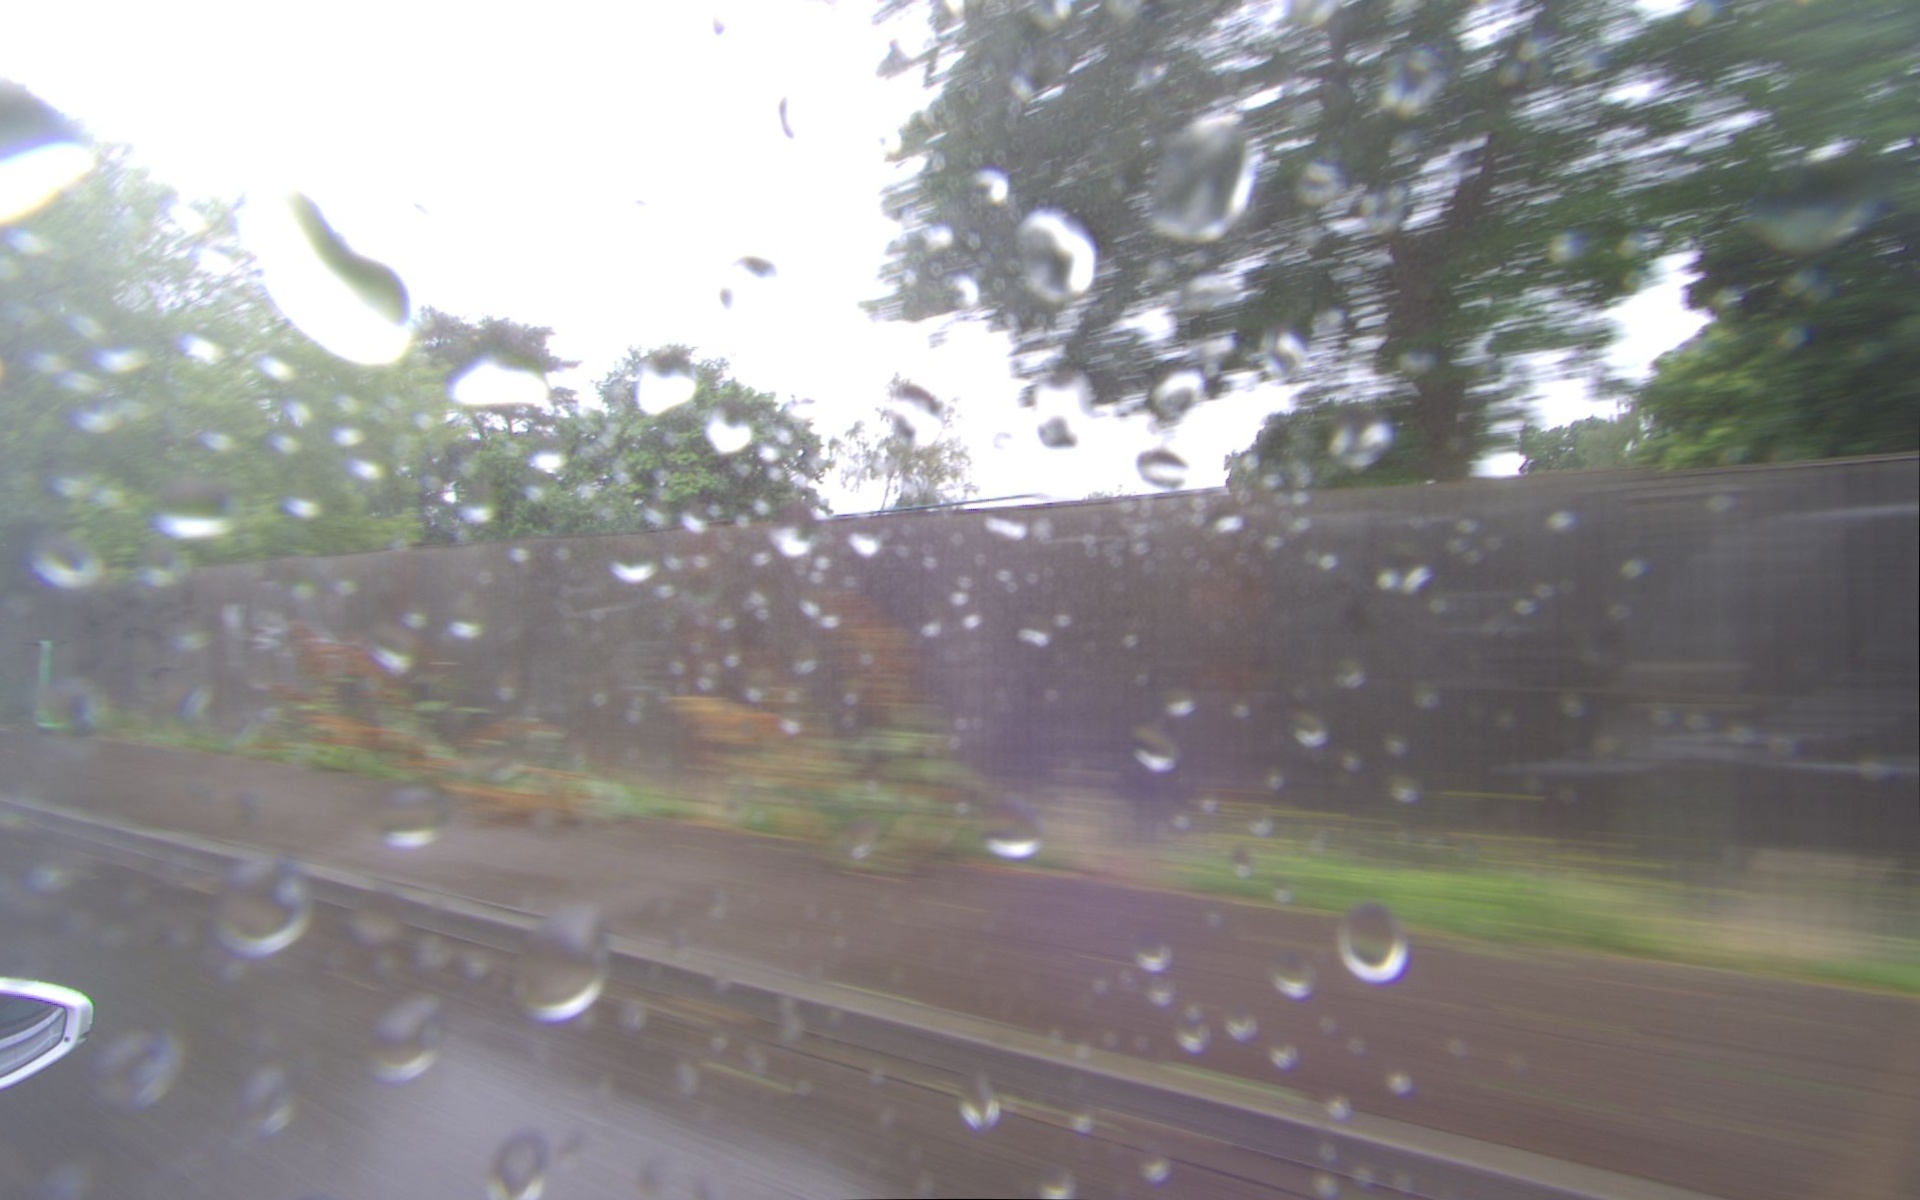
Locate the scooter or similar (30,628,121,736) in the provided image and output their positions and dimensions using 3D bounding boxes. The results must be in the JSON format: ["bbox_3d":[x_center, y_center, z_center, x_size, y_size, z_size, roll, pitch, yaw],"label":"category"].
[{"bbox_3d":[-10.756,0.964,12.165,1.351,1.251,0.490,-1,0,33],"label":"scooter or similar"}]
